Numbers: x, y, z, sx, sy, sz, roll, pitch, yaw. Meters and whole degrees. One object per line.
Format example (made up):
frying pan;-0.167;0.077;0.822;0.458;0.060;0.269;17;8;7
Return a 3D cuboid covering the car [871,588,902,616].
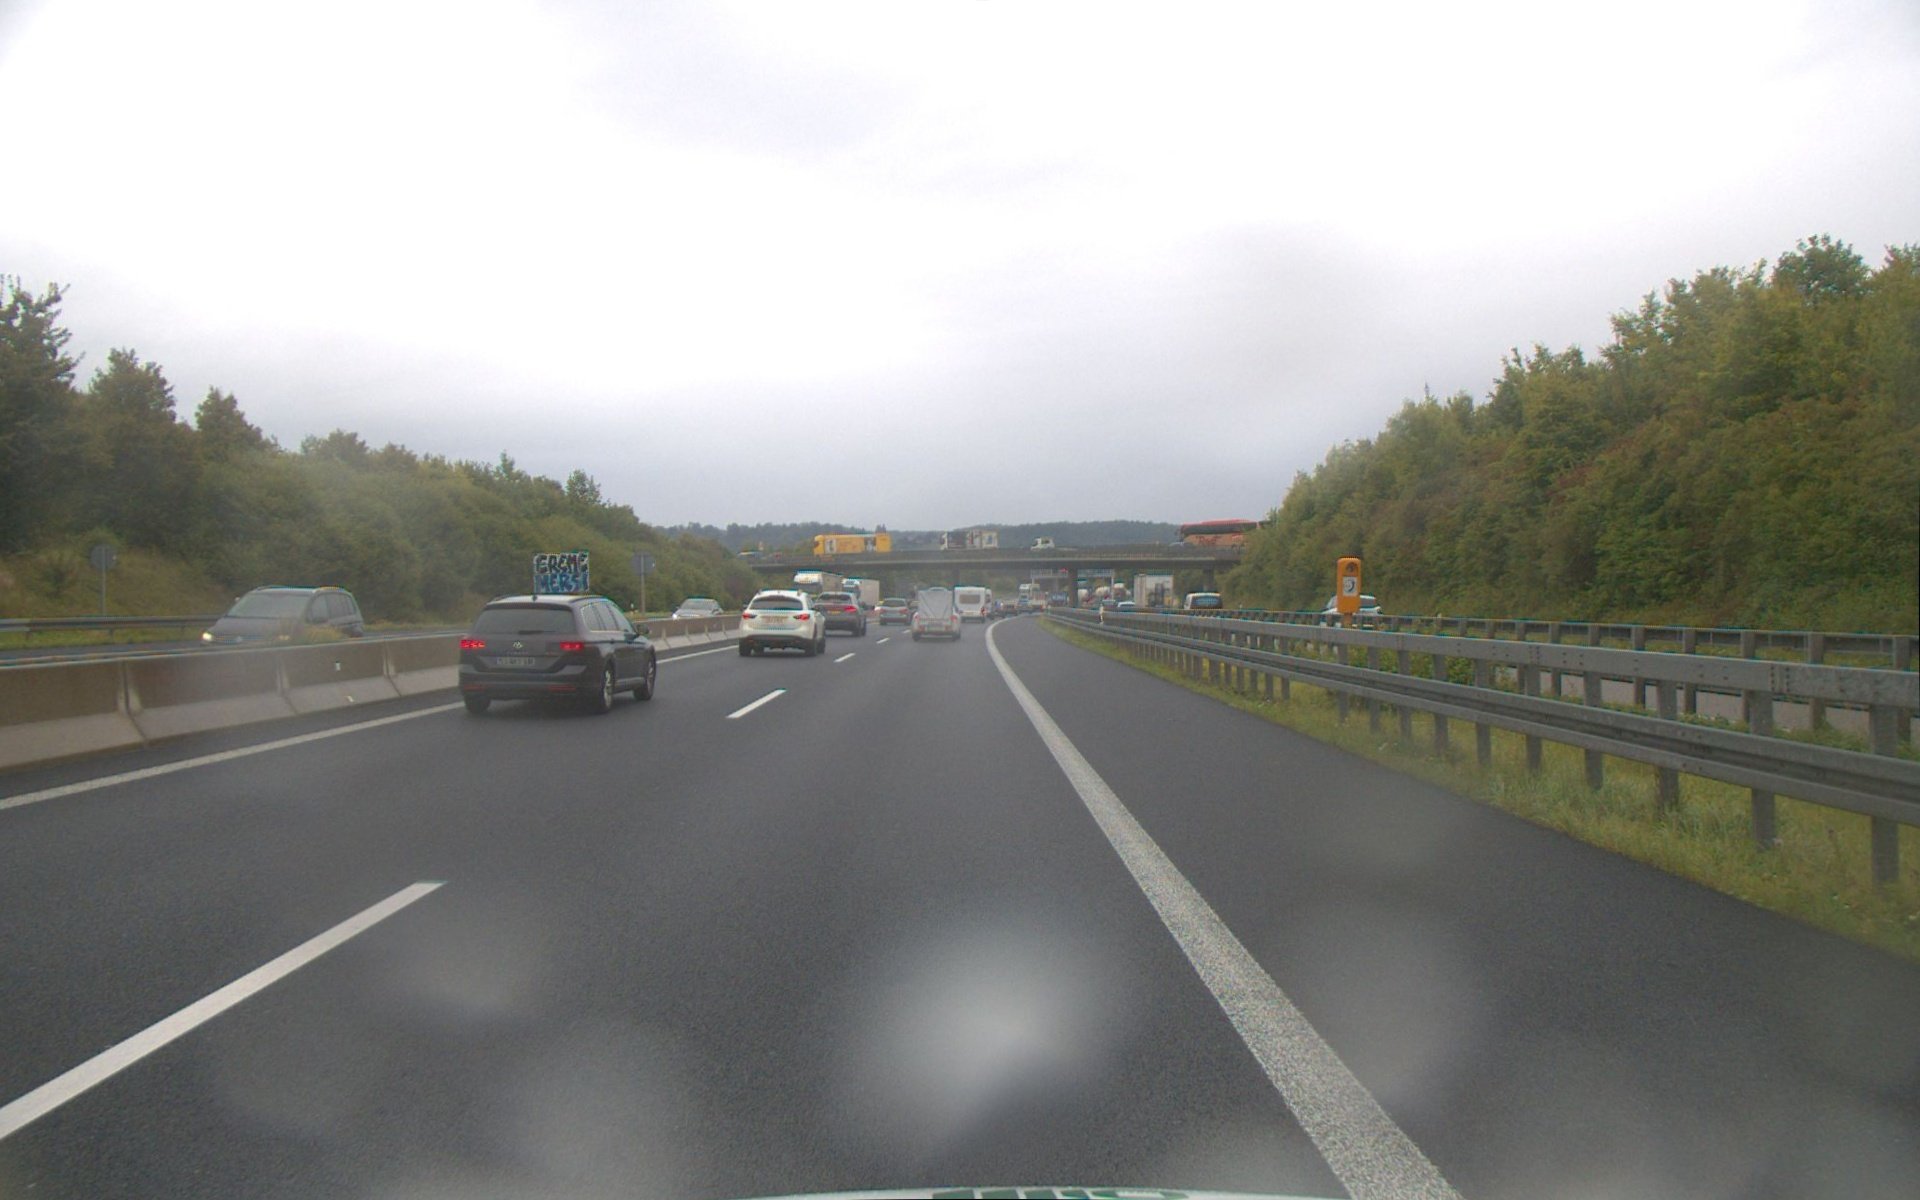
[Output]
car;-4.438;0.130;99.653;1.862;1.641;4.015;0;0;-3

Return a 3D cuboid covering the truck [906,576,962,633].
truck;-0.968;0.123;62.290;1.978;2.020;7.212;0;0;-1

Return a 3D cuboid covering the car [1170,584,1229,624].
car;11.431;0.162;79.181;1.968;1.846;4.273;0;0;-3

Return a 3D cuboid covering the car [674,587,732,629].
car;-11.971;0.363;77.191;1.952;1.844;4.173;1;0;1

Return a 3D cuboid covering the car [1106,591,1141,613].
car;11.815;0.158;119.848;1.967;1.575;4.695;0;0;-1

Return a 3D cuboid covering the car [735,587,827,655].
car;-4.569;0.505;42.744;1.936;1.668;4.500;0;0;-1

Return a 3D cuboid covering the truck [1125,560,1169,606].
truck;18.197;-1.663;161.682;3.366;4.364;10.420;0;0;1

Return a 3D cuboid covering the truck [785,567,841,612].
truck;-13.729;-0.945;155.367;3.688;4.062;13.189;0;0;2

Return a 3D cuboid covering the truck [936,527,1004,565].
truck;1.293;-7.218;222.671;3.741;4.920;9.905;0;0;-38

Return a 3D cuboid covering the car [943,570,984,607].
car;0.275;-0.874;122.779;2.955;2.662;6.075;0;1;0

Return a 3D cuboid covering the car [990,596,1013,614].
car;4.187;0.509;167.269;1.954;1.780;3.997;1;0;-4

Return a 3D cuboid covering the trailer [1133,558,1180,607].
trailer;17.921;-1.578;151.236;3.366;4.364;10.457;0;0;2

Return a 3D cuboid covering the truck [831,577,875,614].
truck;-12.044;-0.534;187.055;3.688;4.062;13.189;0;0;2

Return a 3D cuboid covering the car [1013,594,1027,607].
car;8.663;0.085;238.957;1.952;1.780;4.000;1;0;1

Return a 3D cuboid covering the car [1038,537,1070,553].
car;11.846;-6.934;207.870;1.825;1.948;3.943;1;0;-39

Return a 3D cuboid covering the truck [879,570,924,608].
truck;-5.721;-1.052;165.131;3.688;3.616;13.189;0;0;2

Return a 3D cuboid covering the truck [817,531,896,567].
truck;-15.390;-7.512;244.389;3.741;4.920;15.033;0;0;-38

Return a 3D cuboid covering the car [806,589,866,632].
car;-4.887;0.391;65.569;2.130;1.660;4.499;0;0;-1

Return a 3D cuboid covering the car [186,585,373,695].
car;-12.904;0.718;31.673;1.953;1.935;4.171;1;0;-2

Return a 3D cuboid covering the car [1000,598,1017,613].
car;6.092;0.691;206.632;1.953;1.780;4.000;1;0;0

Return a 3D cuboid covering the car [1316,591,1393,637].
car;14.769;0.497;62.147;1.858;1.641;4.145;0;0;-1

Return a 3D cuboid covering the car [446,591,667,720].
car;-5.193;0.665;21.966;1.862;1.523;4.850;0;0;-2
